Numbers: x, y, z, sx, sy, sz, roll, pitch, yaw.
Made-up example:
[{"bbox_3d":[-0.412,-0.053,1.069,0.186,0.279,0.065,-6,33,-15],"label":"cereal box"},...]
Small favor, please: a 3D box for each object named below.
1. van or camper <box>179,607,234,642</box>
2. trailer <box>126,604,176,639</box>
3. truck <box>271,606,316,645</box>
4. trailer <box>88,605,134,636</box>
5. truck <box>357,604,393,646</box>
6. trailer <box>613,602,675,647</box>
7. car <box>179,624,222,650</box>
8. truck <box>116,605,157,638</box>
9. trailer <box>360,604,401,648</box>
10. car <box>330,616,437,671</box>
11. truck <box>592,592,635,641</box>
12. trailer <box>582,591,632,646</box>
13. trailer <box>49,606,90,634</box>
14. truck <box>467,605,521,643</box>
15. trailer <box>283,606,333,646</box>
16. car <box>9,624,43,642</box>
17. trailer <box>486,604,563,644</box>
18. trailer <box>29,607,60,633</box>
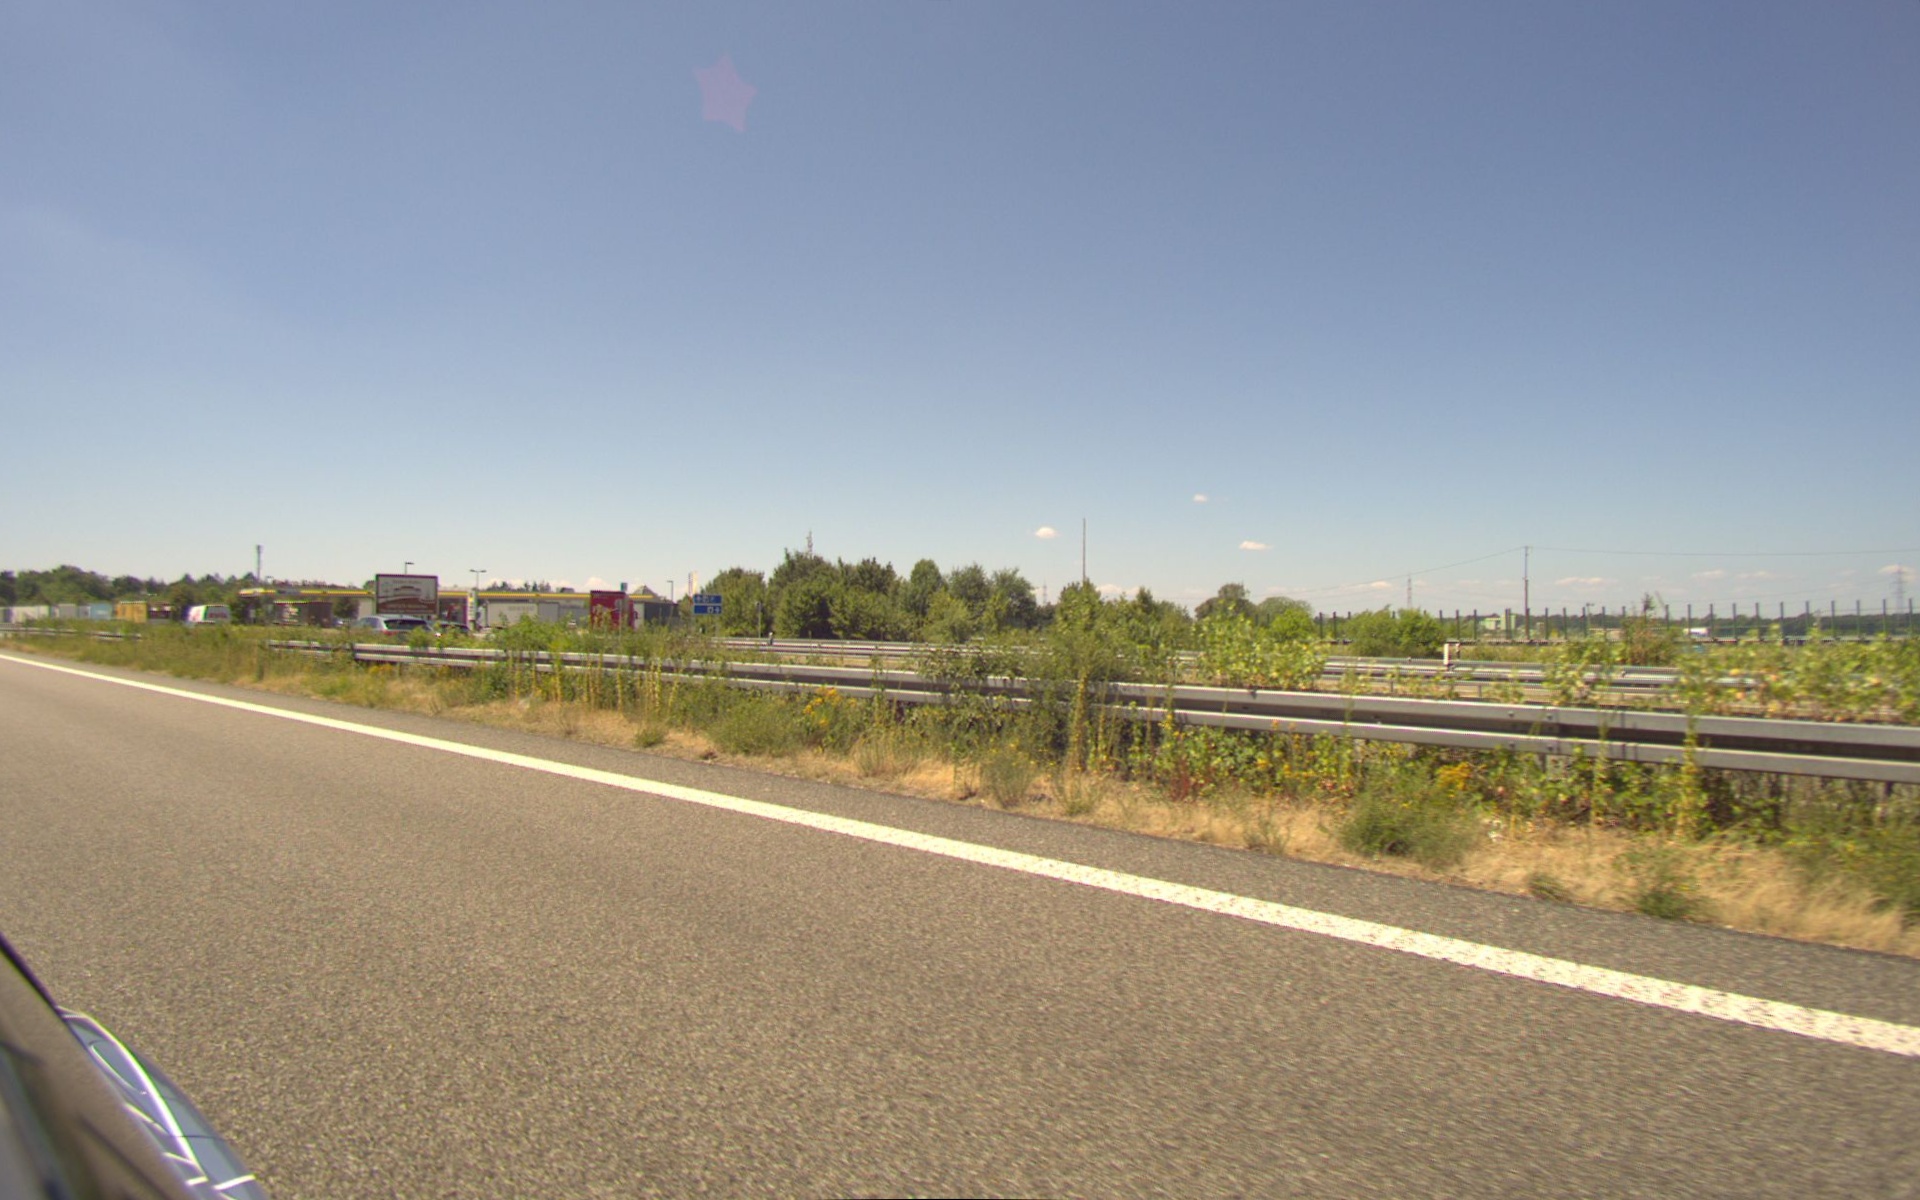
[{"bbox_3d":[-57.633,1.834,77.308,6.386,2.543,2.038,-1,0,41],"label":"van or camper"},{"bbox_3d":[-104.034,2.713,130.061,11.073,4.251,2.805,-1,0,40],"label":"trailer"},{"bbox_3d":[-87.565,3.371,132.859,7.877,4.886,2.993,-1,0,42],"label":"truck"},{"bbox_3d":[-120.574,2.942,143.697,12.073,4.180,2.805,-1,0,40],"label":"trailer"},{"bbox_3d":[-72.604,3.051,125.552,3.257,4.886,7.645,-1,0,-35],"label":"truck"},{"bbox_3d":[-33.226,2.486,106.919,3.121,4.298,11.064,-1,0,-1],"label":"trailer"},{"bbox_3d":[-46.755,2.239,62.290,3.401,1.526,1.431,-1,0,42],"label":"car"},{"bbox_3d":[-109.776,2.838,134.869,7.911,4.232,2.805,-1,0,40],"label":"truck"},{"bbox_3d":[-68.659,2.974,119.798,3.257,4.911,9.708,-1,0,-34],"label":"trailer"},{"bbox_3d":[-17.578,1.295,30.808,3.852,1.569,1.584,-1,-2,40],"label":"car"},{"bbox_3d":[-30.589,1.438,89.540,3.075,4.080,6.664,-1,0,-15],"label":"truck"},{"bbox_3d":[-28.688,1.414,82.681,3.078,4.086,11.346,-1,0,-16],"label":"trailer"},{"bbox_3d":[-139.760,3.074,158.740,11.004,4.189,3.083,-1,0,39],"label":"trailer"},{"bbox_3d":[-57.521,2.943,124.766,7.624,4.390,3.266,-1,0,42],"label":"truck"},{"bbox_3d":[-82.942,3.282,128.653,9.132,4.886,3.000,-1,0,42],"label":"trailer"},{"bbox_3d":[-99.790,3.546,108.103,5.043,1.824,1.934,-1,0,40],"label":"car"},{"bbox_3d":[-51.405,2.826,119.145,12.919,4.390,3.266,-1,0,42],"label":"trailer"},{"bbox_3d":[-156.698,3.422,173.198,10.506,4.250,2.572,-1,0,40],"label":"trailer"}]
